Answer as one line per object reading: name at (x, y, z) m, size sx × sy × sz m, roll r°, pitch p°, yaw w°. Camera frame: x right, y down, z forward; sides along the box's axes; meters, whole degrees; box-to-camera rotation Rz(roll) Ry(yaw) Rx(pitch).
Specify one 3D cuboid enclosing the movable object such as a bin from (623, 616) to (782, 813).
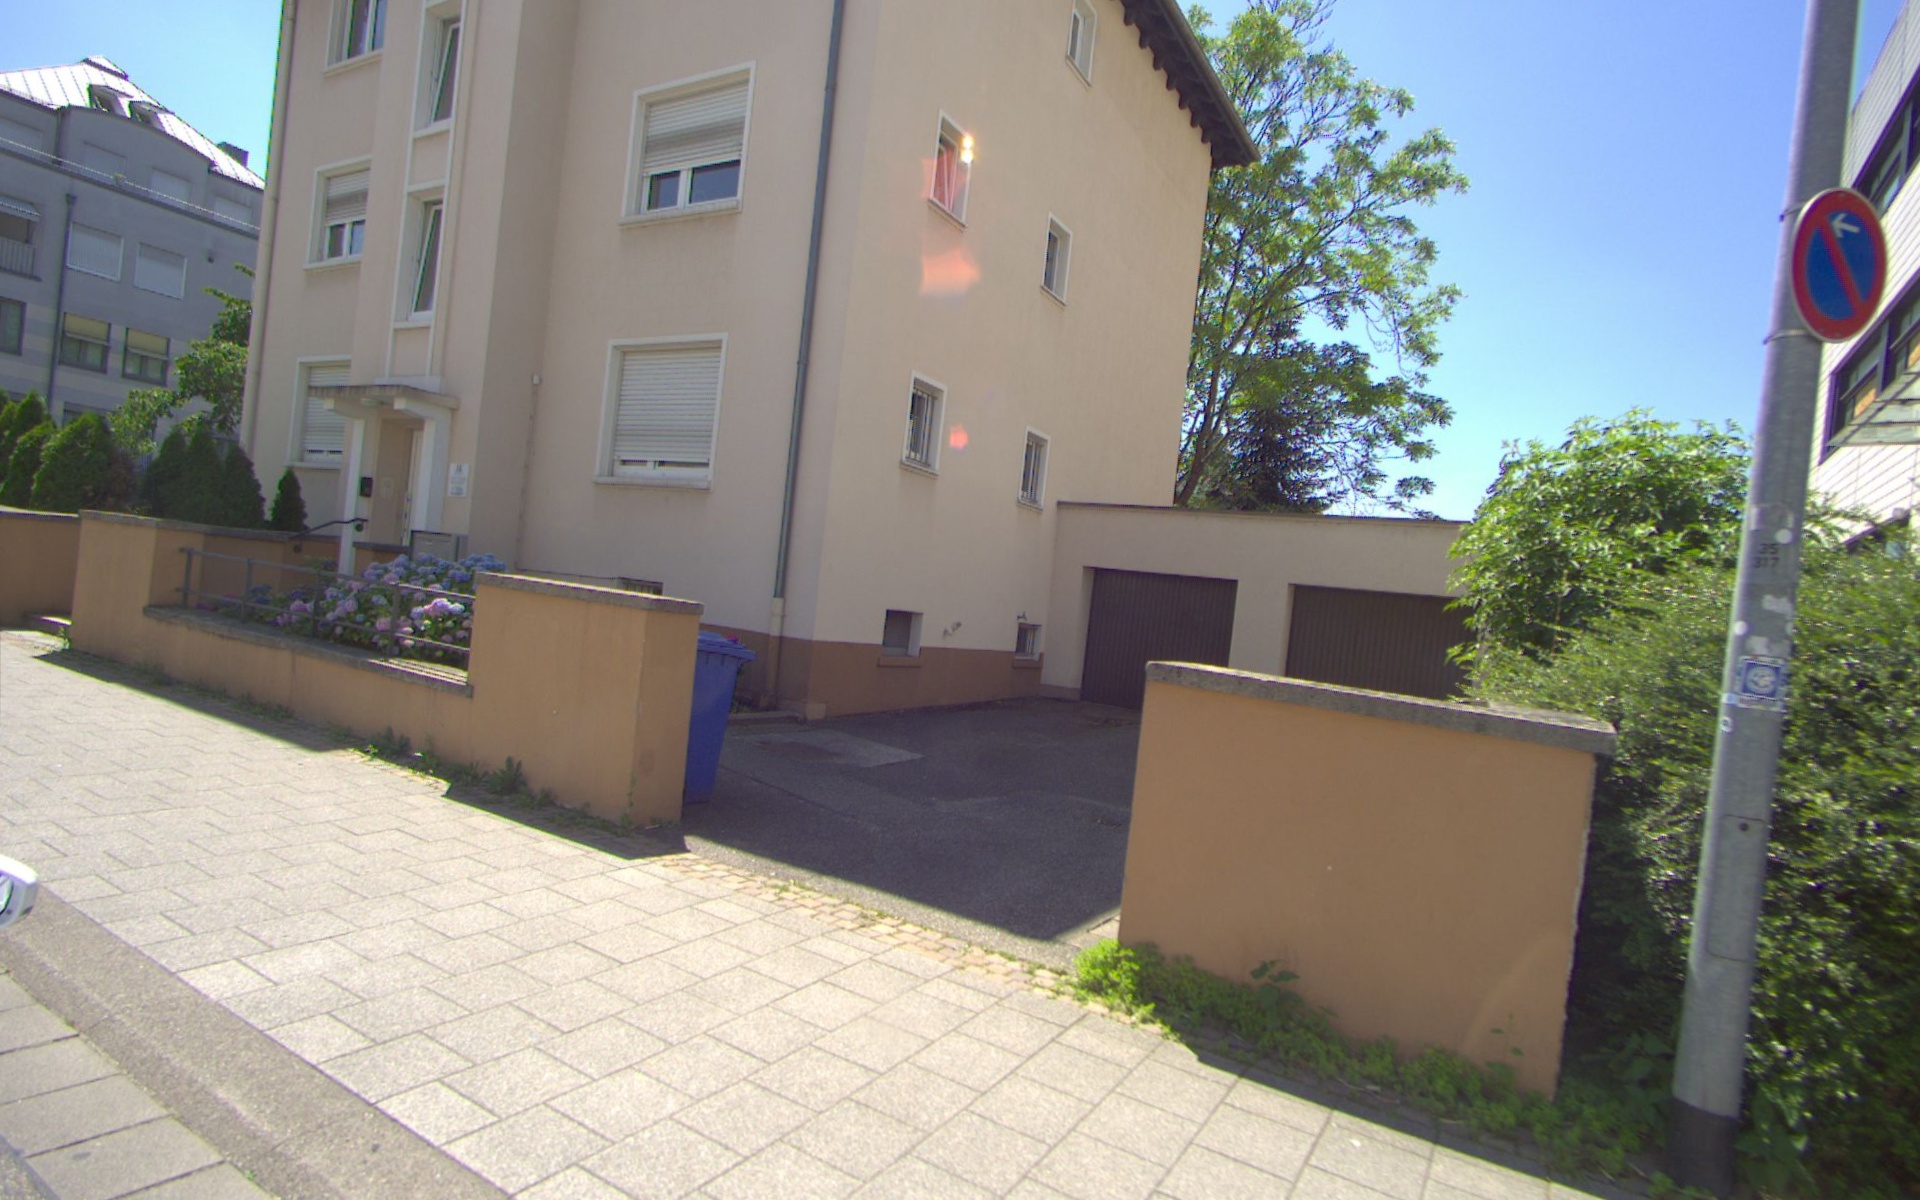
movable object such as a bin at (-1.627, 0.700, 6.382) m, size 0.622 × 1.114 × 0.625 m, roll 7°, pitch 1°, yaw 34°
